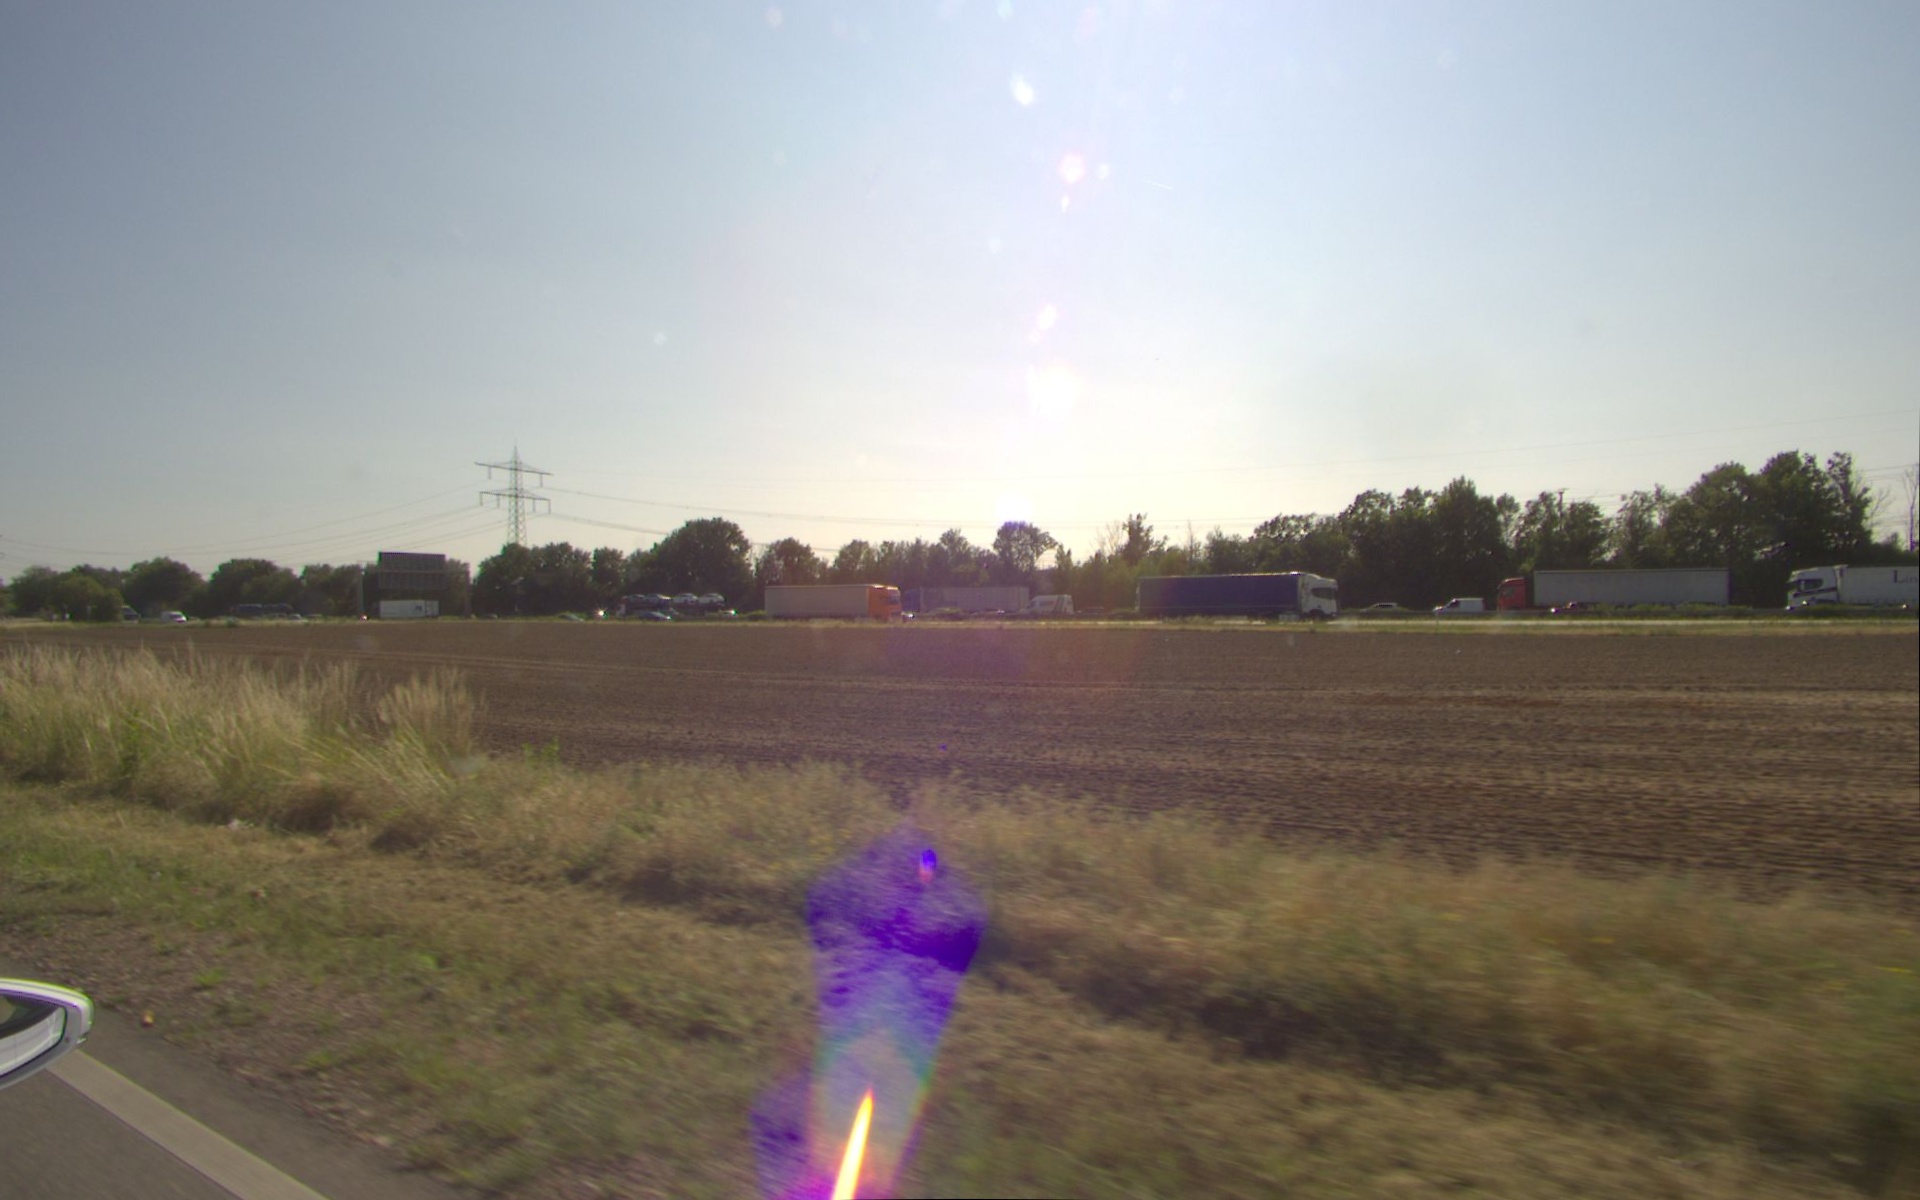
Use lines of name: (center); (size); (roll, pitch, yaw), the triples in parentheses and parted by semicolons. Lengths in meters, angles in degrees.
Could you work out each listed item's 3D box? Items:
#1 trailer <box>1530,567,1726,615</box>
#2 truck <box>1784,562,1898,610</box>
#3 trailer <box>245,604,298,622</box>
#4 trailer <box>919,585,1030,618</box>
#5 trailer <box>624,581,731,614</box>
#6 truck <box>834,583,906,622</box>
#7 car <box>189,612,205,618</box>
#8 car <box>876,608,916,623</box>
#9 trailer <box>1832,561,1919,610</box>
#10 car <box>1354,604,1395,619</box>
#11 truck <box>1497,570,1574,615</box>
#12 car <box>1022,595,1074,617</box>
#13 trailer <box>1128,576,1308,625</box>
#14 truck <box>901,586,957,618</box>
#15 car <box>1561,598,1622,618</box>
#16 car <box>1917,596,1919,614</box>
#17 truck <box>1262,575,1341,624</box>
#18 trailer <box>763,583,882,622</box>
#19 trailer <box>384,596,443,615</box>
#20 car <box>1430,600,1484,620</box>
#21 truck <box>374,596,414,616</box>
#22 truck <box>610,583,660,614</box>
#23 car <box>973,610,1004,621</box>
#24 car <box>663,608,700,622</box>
trailer: (55.918, -0.648, 84.501); (13.581, 3.782, 2.940); (-1, 0, 31)
truck: (67.548, -1.028, 76.928); (6.019, 3.579, 3.197); (0, 1, 31)
trailer: (-136.708, 2.542, 198.673); (13.251, 3.310, 3.280); (0, 0, 30)
trailer: (1.543, 0.162, 117.075); (13.434, 3.783, 3.065); (0, 0, 33)
trailer: (-40.609, -0.284, 143.429); (17.298, 4.512, 3.416); (-1, 1, 29)
truck: (-9.308, 0.270, 103.189); (6.846, 3.899, 3.099); (0, 0, 30)
car: (-154.008, 3.027, 202.055); (3.530, 1.166, 1.392); (0, -1, 32)
car: (-6.779, 1.664, 106.114); (3.837, 1.595, 1.991); (-1, -2, 32)
trailer: (73.785, -1.090, 73.151); (14.861, 3.578, 3.196); (-1, 1, 31)
car: (37.088, 1.029, 89.568); (3.242, 1.300, 1.339); (-1, -2, 29)
truck: (50.479, -0.577, 87.849); (5.784, 3.782, 2.940); (0, 0, 31)
car: (9.216, 0.640, 105.392); (5.160, 2.229, 1.902); (0, -1, 31)
trailer: (21.451, -0.016, 84.132); (14.370, 3.852, 3.068); (1, 0, 30)
truck: (-3.727, 0.218, 120.442); (6.000, 3.783, 3.065); (1, 0, 33)
car: (50.530, 0.665, 80.216); (4.034, 1.528, 1.701); (-1, -2, 31)
car: (68.146, 0.348, 68.803); (3.242, 1.235, 1.339); (-1, 0, 29)
truck: (27.486, -0.061, 80.572); (5.526, 3.852, 3.068); (1, 0, 30)
trailer: (-14.683, 0.320, 106.324); (13.513, 3.899, 3.099); (0, 0, 30)
trailer: (-96.683, 1.006, 177.085); (12.270, 3.310, 3.279); (-1, 0, 30)
car: (42.324, 0.859, 85.283); (4.033, 1.659, 1.701); (-1, -2, 31)
truck: (-101.739, 1.082, 180.065); (6.875, 3.310, 3.279); (-1, 0, 30)
truck: (-47.844, -0.182, 147.525); (6.605, 4.512, 3.416); (-1, 1, 29)
car: (3.054, 1.638, 108.455); (3.134, 1.166, 1.393); (0, -1, 31)
car: (-34.326, 1.841, 123.284); (4.410, 1.633, 1.903); (-1, -2, 33)
